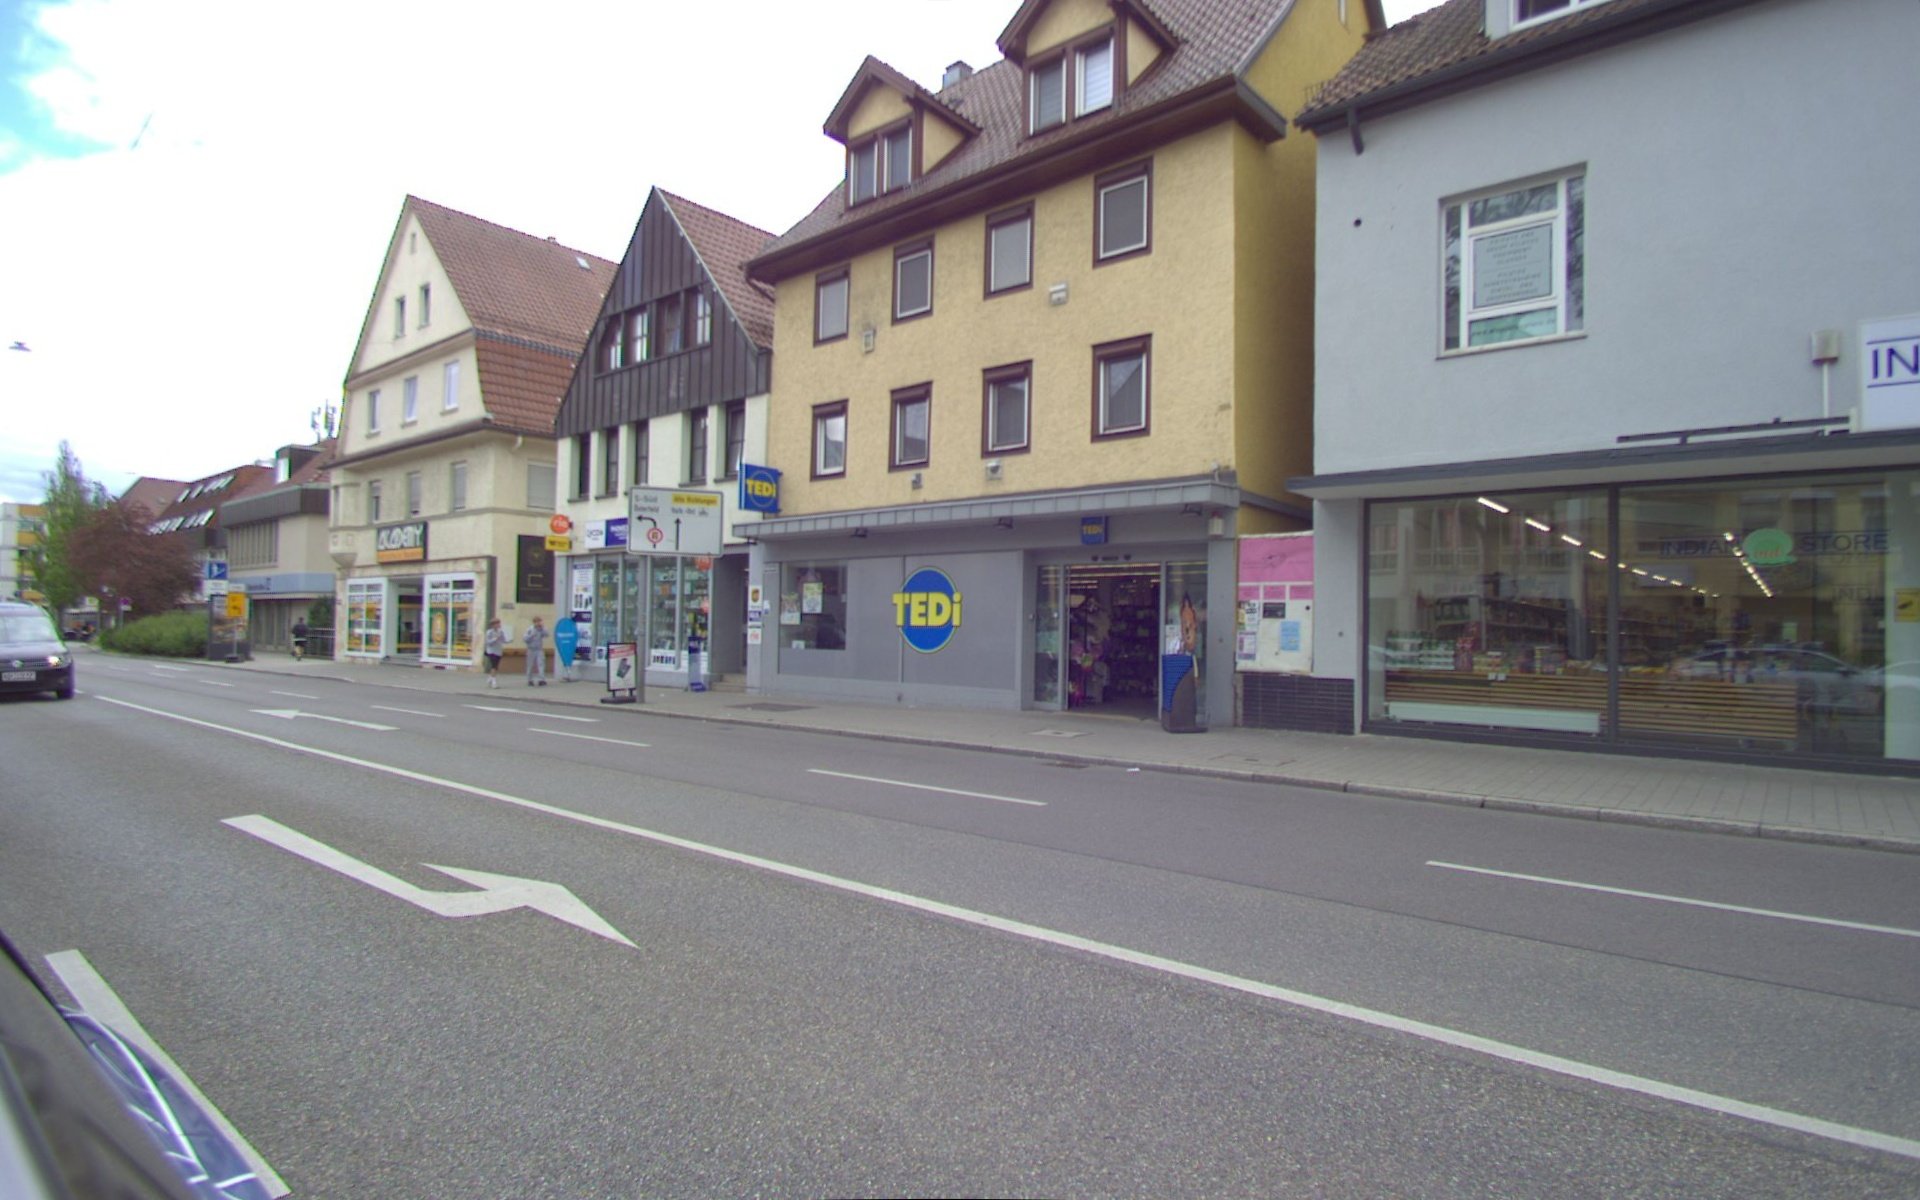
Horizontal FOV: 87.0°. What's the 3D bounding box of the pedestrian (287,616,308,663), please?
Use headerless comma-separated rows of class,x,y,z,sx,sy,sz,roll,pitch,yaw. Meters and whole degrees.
pedestrian,-27.044,1.611,41.294,0.592,1.903,0.544,-1,-1,37

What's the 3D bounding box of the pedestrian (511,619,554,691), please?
pedestrian,-10.341,1.307,24.467,0.709,1.683,0.680,-1,0,41

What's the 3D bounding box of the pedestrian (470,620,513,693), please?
pedestrian,-11.129,1.331,24.045,0.742,1.703,0.680,-1,-1,41

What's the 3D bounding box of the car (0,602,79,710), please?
car,-18.344,1.020,19.338,4.632,1.869,1.726,-1,-1,42
